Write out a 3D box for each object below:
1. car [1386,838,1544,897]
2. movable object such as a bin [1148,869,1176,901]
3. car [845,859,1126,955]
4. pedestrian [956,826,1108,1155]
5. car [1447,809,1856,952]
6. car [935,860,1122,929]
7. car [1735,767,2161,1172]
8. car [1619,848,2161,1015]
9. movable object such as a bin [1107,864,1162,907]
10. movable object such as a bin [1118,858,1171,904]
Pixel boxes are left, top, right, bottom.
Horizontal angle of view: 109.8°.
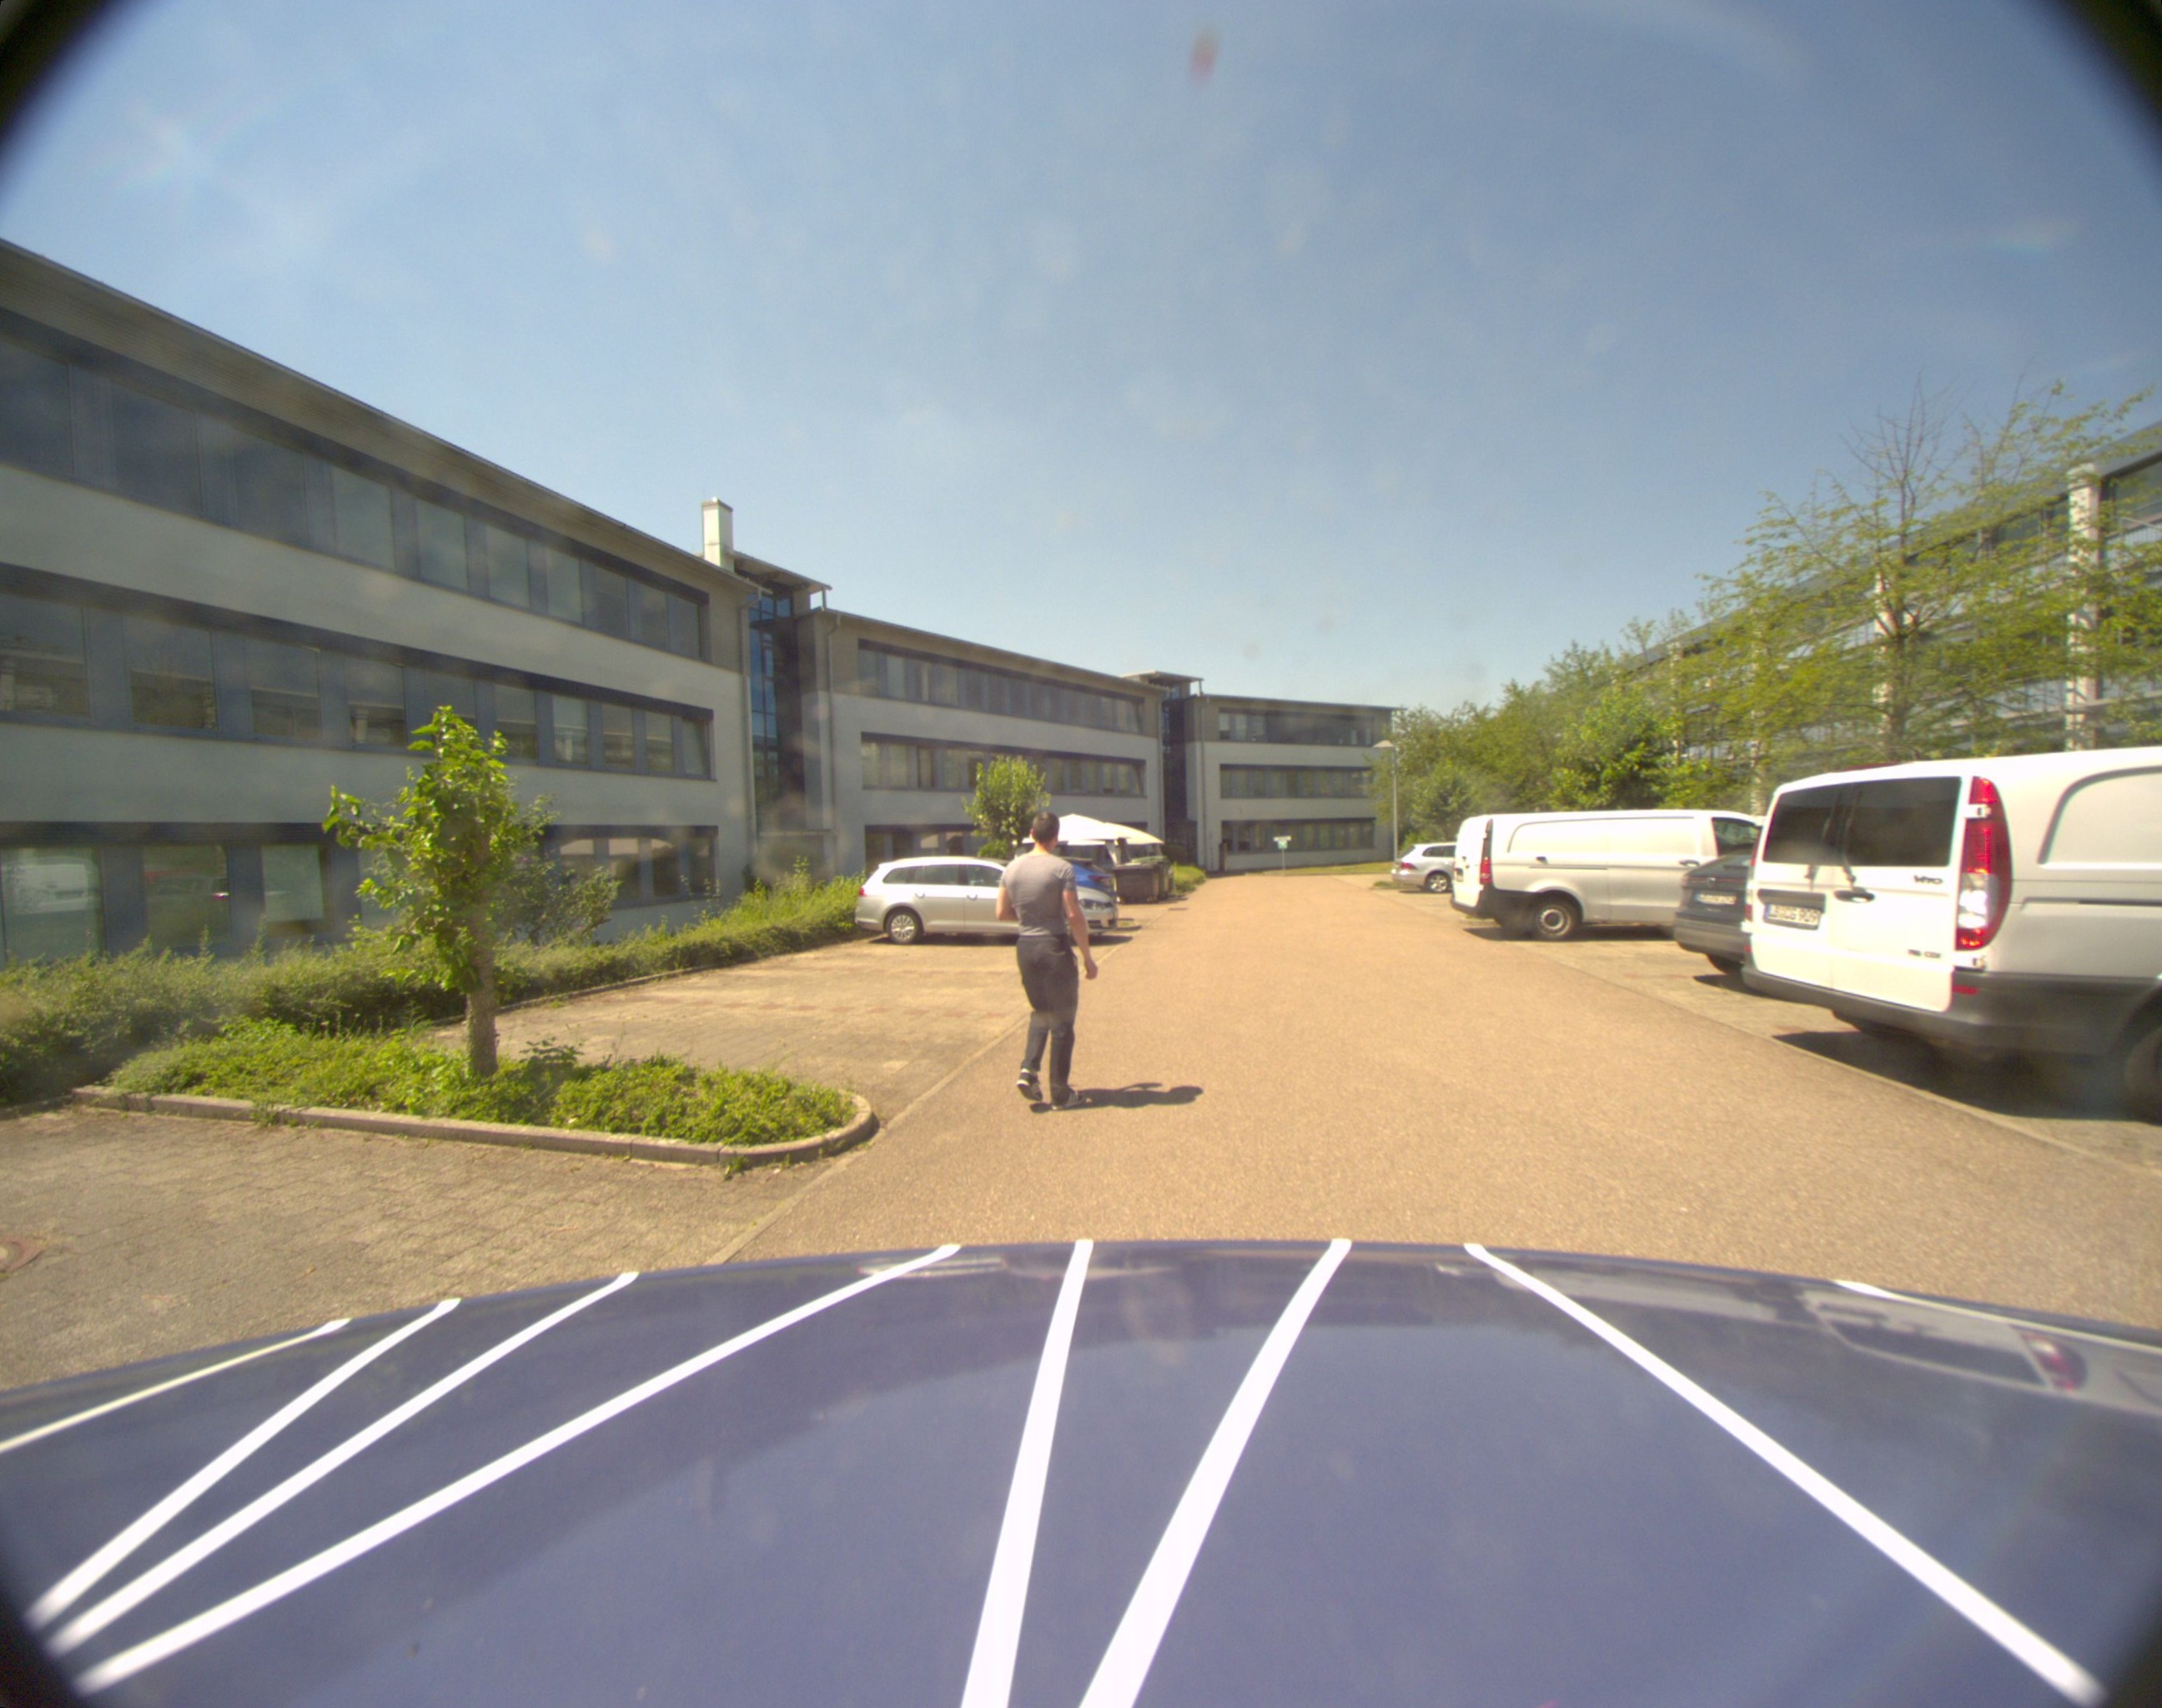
[{"bbox_3d":[11.000,0.379,22.009,3.759,1.549,1.662,-2,1,11],"label":"car"},{"bbox_3d":[2.516,0.966,23.545,0.690,0.944,0.723,-1,1,17],"label":"movable object such as a bin"},{"bbox_3d":[-1.587,0.862,13.321,4.513,1.488,1.830,0,1,11],"label":"car"},{"bbox_3d":[-0.258,0.727,4.479,0.617,1.747,0.789,-1,1,15],"label":"pedestrian"},{"bbox_3d":[8.143,0.389,11.317,4.513,1.871,1.830,-2,1,11],"label":"car"},{"bbox_3d":[-1.109,0.842,16.869,3.821,1.384,1.653,0,1,11],"label":"car"},{"bbox_3d":[6.856,0.484,4.123,4.728,1.895,1.831,-2,1,11],"label":"car"},{"bbox_3d":[7.813,0.696,7.438,3.845,1.385,1.578,-2,1,11],"label":"car"},{"bbox_3d":[1.544,0.895,21.740,1.362,1.183,0.998,-1,1,17],"label":"movable object such as a bin"},{"bbox_3d":[1.916,0.796,22.741,1.362,1.288,1.044,-1,1,17],"label":"movable object such as a bin"}]
